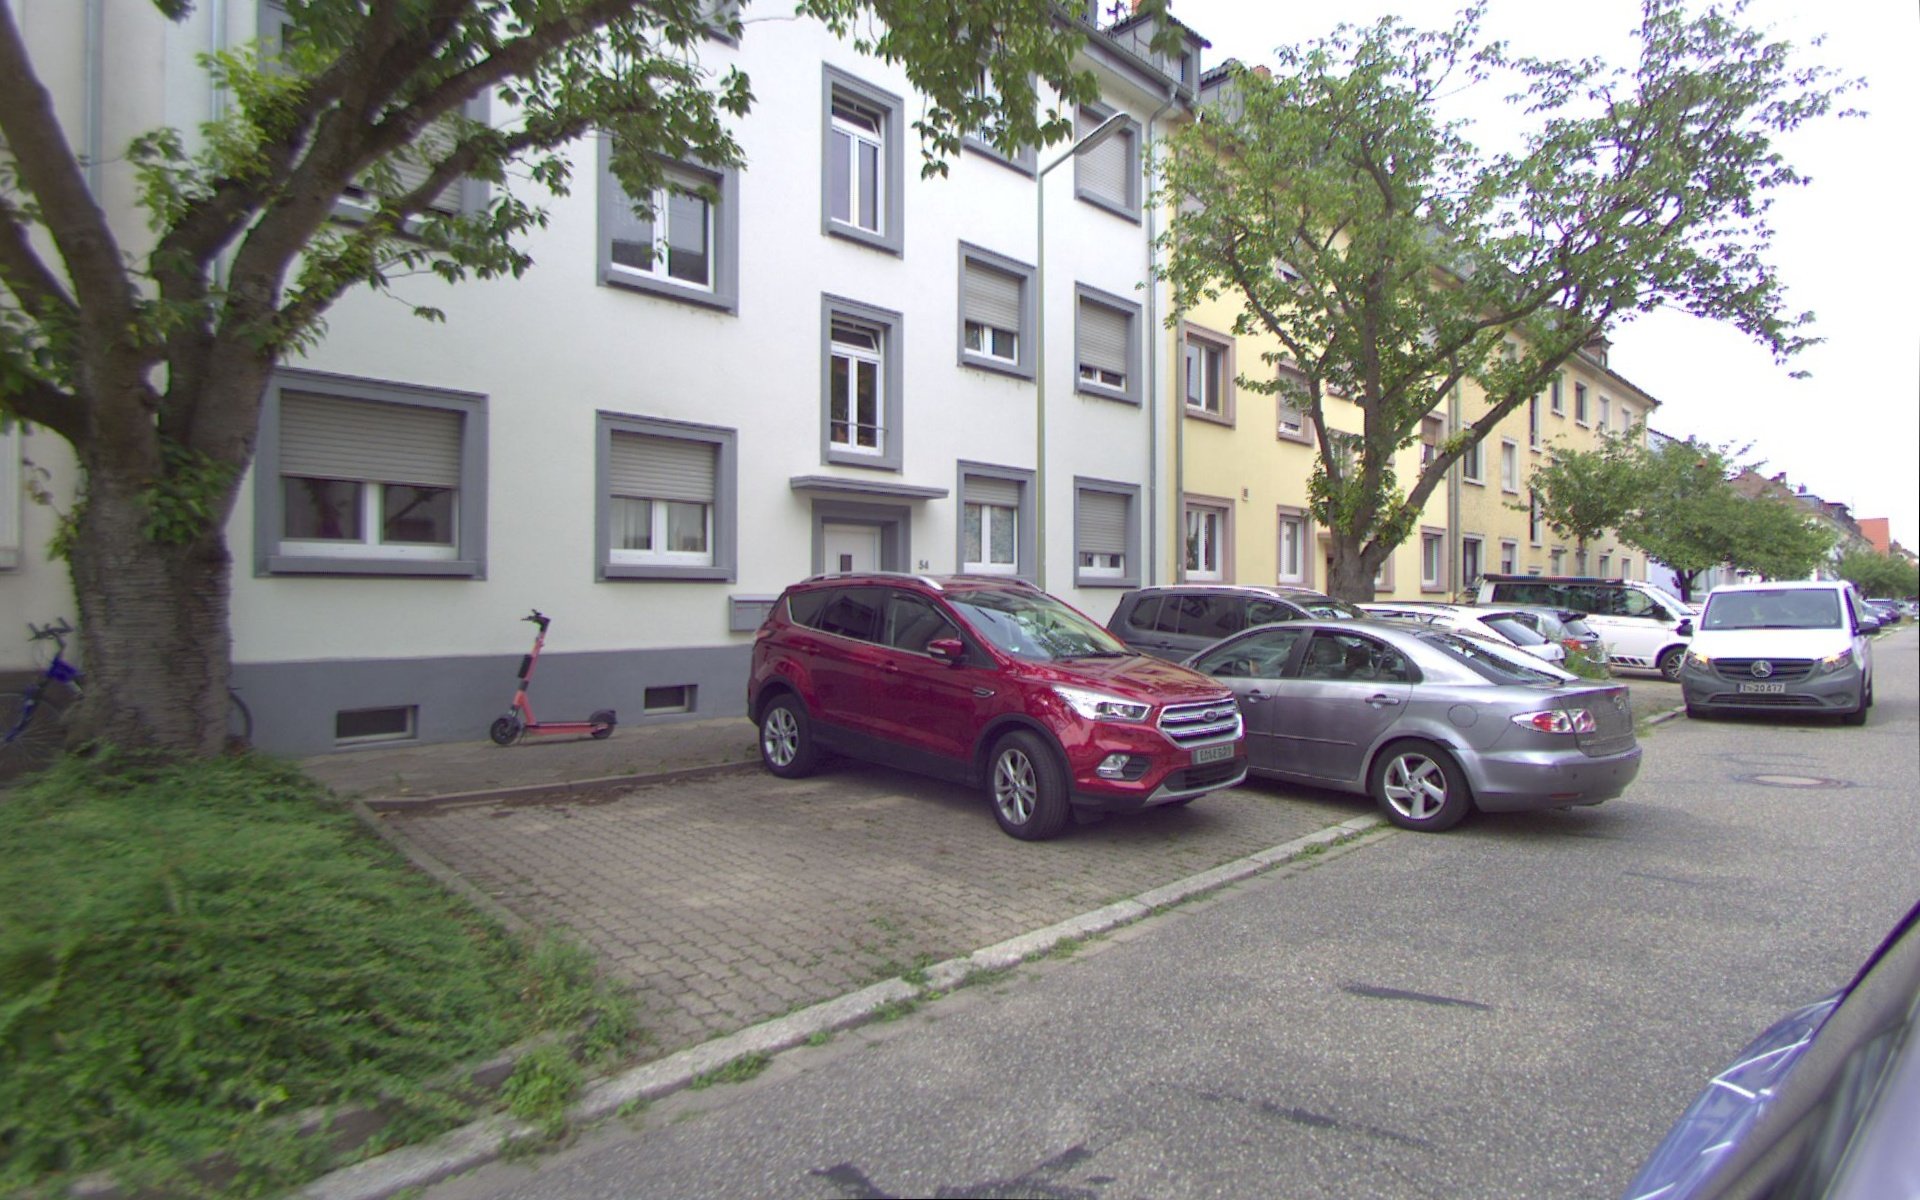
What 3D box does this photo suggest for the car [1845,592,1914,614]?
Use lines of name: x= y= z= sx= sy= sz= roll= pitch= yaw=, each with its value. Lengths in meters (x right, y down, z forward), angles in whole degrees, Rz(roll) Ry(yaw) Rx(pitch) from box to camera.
car: x=62.561 y=0.238 z=68.885 sx=3.431 sy=1.465 sz=1.621 roll=-1 pitch=-1 yaw=43

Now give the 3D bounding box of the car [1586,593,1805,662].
car: x=19.701 y=0.671 z=27.257 sx=4.549 sy=1.529 sz=1.821 roll=3 pitch=3 yaw=45

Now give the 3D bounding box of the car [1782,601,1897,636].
car: x=46.256 y=0.929 z=53.267 sx=1.840 sy=1.555 sz=4.397 roll=0 pitch=2 yaw=-44

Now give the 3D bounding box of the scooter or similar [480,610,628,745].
scooter or similar: x=-3.785 y=0.693 z=9.489 sx=1.231 sy=1.162 sz=0.364 roll=0 pitch=2 yaw=-41

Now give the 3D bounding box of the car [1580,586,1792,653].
car: x=18.213 y=0.427 z=25.492 sx=4.095 sy=1.432 sz=1.821 roll=3 pitch=3 yaw=45

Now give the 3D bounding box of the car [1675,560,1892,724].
car: x=11.821 y=0.499 z=14.395 sx=1.993 sy=1.939 sz=4.630 roll=-2 pitch=-1 yaw=44

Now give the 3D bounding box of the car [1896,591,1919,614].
car: x=71.249 y=0.166 z=75.737 sx=3.387 sy=1.697 sz=1.642 roll=0 pitch=-1 yaw=-45

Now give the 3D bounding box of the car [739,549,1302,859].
car: x=0.191 y=0.488 z=7.763 sx=1.871 sy=1.698 sz=4.222 roll=0 pitch=2 yaw=-41

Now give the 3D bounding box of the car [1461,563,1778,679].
car: x=13.521 y=0.307 z=20.988 sx=5.228 sy=2.048 sz=2.042 roll=3 pitch=2 yaw=42

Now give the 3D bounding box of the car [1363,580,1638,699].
car: x=8.557 y=0.522 z=16.179 sx=1.785 sy=1.593 sz=3.481 roll=0 pitch=2 yaw=-44

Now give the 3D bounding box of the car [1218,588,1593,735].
car: x=5.429 y=0.631 z=12.713 sx=1.611 sy=1.437 sz=3.991 roll=0 pitch=2 yaw=-44

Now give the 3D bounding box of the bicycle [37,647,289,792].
bicycle: x=-5.852 y=0.840 z=7.494 sx=1.447 sy=0.916 sz=0.321 roll=0 pitch=2 yaw=-41

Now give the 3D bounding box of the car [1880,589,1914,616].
car: x=67.054 y=0.182 z=72.379 sx=3.387 sy=1.850 sz=1.642 roll=0 pitch=0 yaw=-45

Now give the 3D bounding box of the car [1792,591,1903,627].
car: x=51.772 y=0.471 z=59.080 sx=1.840 sy=1.849 sz=4.713 roll=0 pitch=2 yaw=-44

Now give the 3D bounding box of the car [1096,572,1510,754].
car: x=3.581 y=0.521 z=11.102 sx=1.611 sy=1.555 sz=3.991 roll=0 pitch=2 yaw=-44

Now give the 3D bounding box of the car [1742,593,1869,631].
car: x=39.340 y=0.517 z=47.165 sx=1.683 sy=1.518 sz=4.395 roll=0 pitch=2 yaw=-45

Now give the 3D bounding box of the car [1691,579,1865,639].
car: x=29.911 y=0.262 z=37.113 sx=1.820 sy=1.933 sz=4.743 roll=0 pitch=2 yaw=-44

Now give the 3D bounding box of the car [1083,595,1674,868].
car: x=3.096 y=0.777 z=8.083 sx=1.737 sy=1.473 sz=3.991 roll=0 pitch=2 yaw=-44
